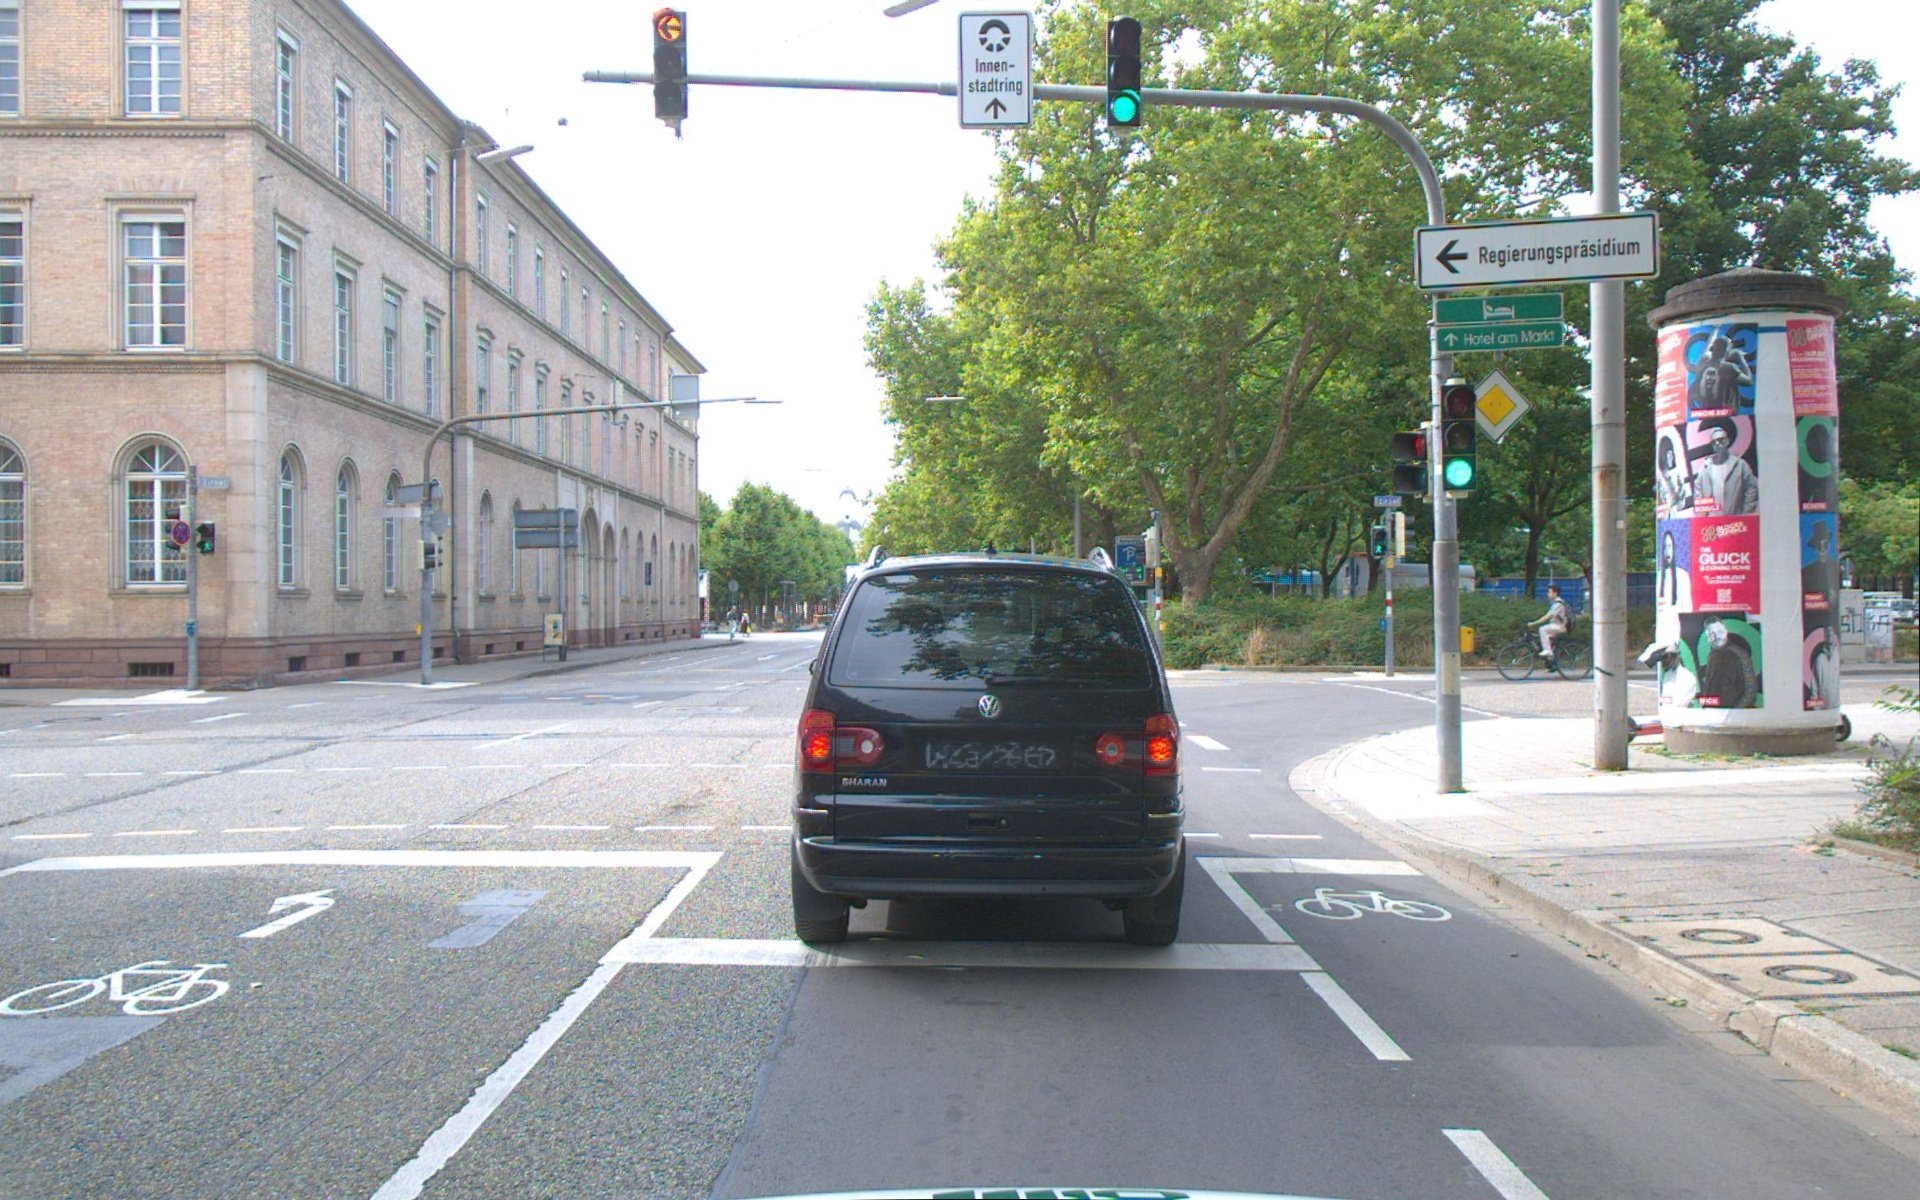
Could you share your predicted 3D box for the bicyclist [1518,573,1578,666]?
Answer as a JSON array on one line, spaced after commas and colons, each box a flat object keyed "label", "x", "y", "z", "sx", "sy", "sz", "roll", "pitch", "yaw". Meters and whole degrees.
[{"label": "bicyclist", "x": 10.961, "y": 0.368, "z": 30.858, "sx": 0.811, "sy": 1.708, "sz": 0.916, "roll": -1, "pitch": -2, "yaw": 4}]

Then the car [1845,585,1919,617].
[{"label": "car", "x": 47.404, "y": 0.056, "z": 84.776, "sx": 1.954, "sy": 1.608, "sz": 3.787, "roll": 1, "pitch": 0, "yaw": -3}]

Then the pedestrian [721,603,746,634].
[{"label": "pedestrian", "x": -12.951, "y": 1.069, "z": 94.710, "sx": 0.940, "sy": 1.772, "sz": 1.256, "roll": 1, "pitch": 0, "yaw": 18}]

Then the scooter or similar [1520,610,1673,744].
[{"label": "scooter or similar", "x": 6.143, "y": 0.740, "z": 15.988, "sx": 1.279, "sy": 1.230, "sz": 0.344, "roll": -3, "pitch": -1, "yaw": 4}]

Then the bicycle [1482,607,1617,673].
[{"label": "bicycle", "x": 10.969, "y": 0.752, "z": 30.843, "sx": 2.197, "sy": 1.193, "sz": 0.916, "roll": -1, "pitch": -2, "yaw": 4}]

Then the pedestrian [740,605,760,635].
[{"label": "pedestrian", "x": -12.012, "y": 1.129, "z": 94.589, "sx": 0.877, "sy": 1.670, "sz": 0.853, "roll": 1, "pitch": 0, "yaw": 18}]

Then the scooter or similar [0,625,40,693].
[{"label": "scooter or similar", "x": -17.839, "y": 1.042, "z": 29.760, "sx": 2.318, "sy": 1.185, "sz": 0.561, "roll": 1, "pitch": 0, "yaw": 5}]

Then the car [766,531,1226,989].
[{"label": "car", "x": 0.109, "y": 0.619, "z": 8.454, "sx": 1.757, "sy": 1.738, "sz": 4.130, "roll": -1, "pitch": 0, "yaw": -1}]
